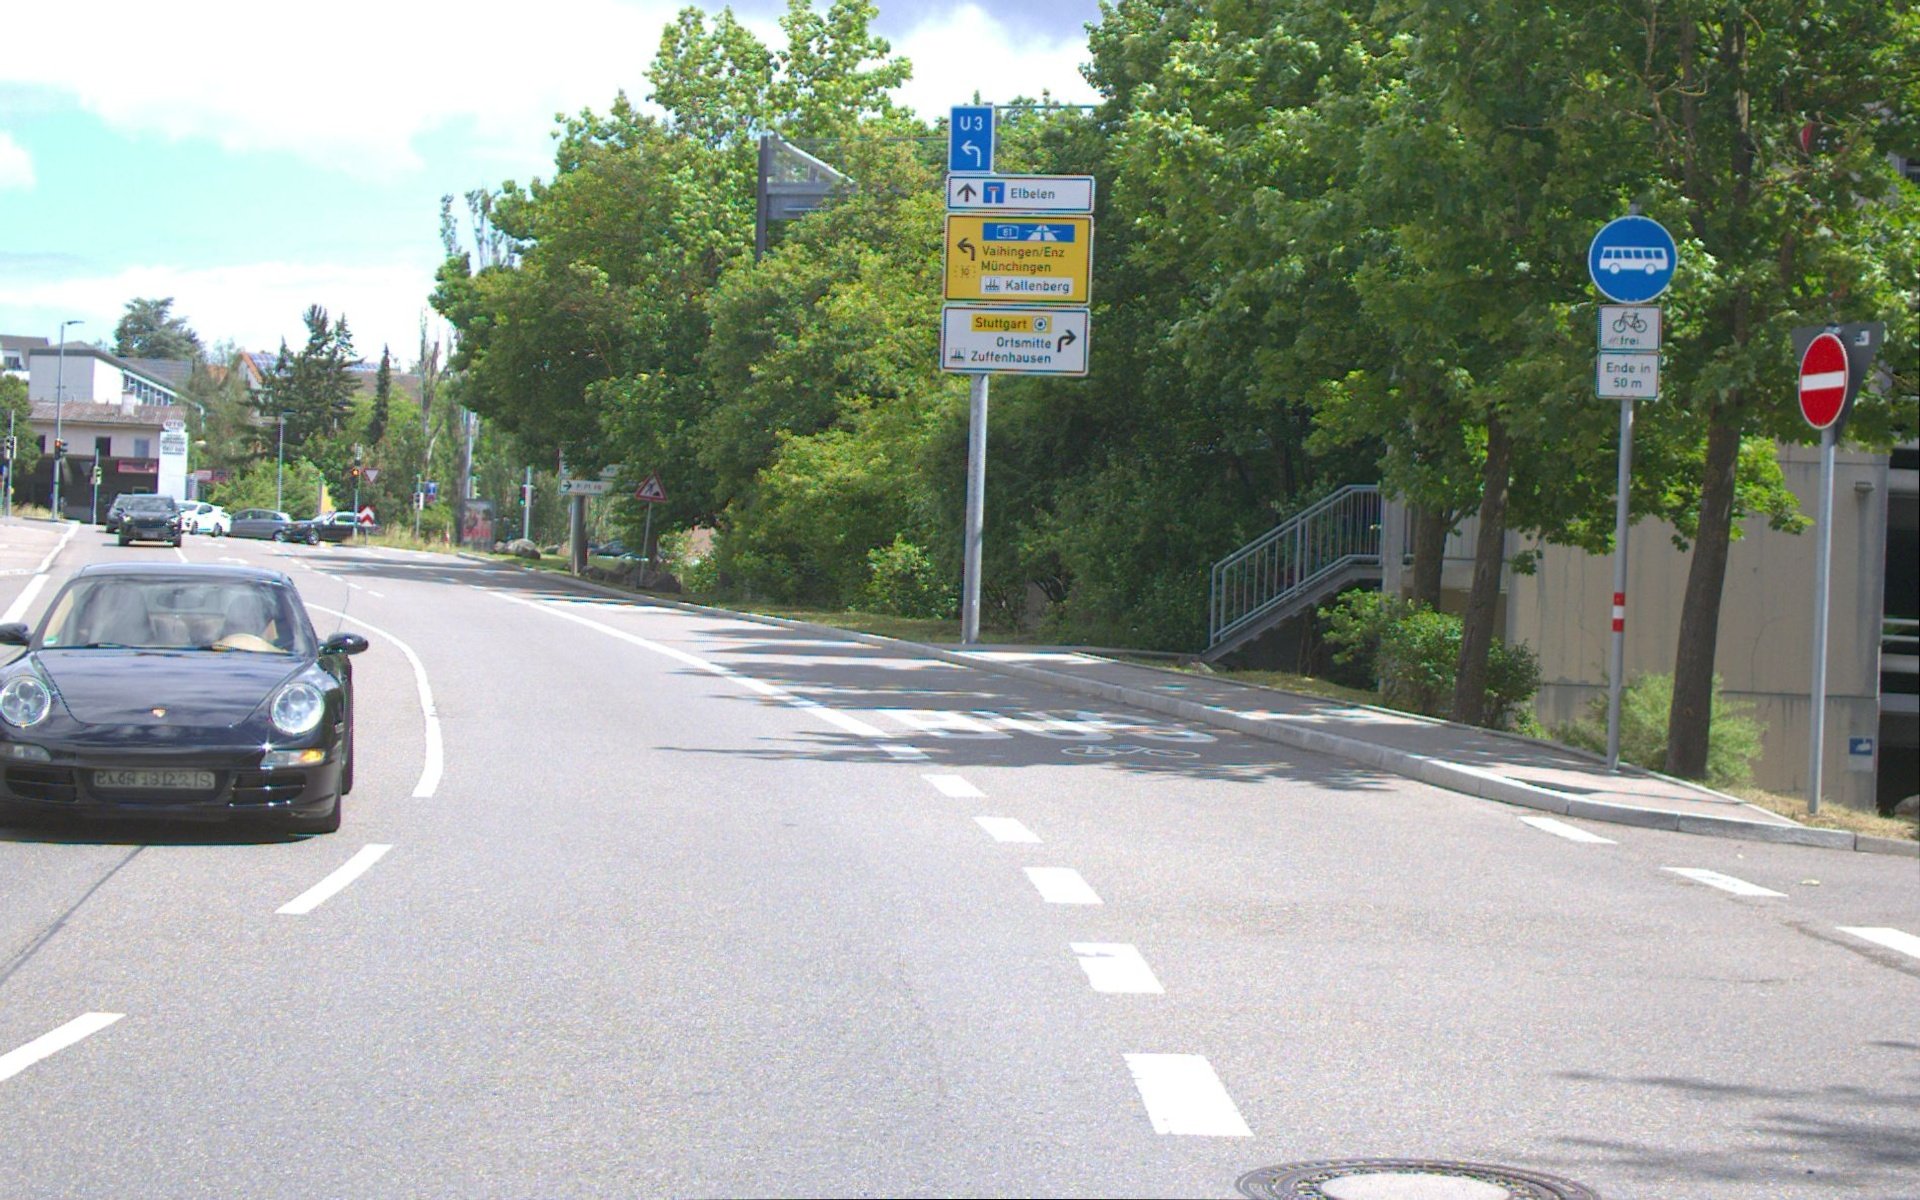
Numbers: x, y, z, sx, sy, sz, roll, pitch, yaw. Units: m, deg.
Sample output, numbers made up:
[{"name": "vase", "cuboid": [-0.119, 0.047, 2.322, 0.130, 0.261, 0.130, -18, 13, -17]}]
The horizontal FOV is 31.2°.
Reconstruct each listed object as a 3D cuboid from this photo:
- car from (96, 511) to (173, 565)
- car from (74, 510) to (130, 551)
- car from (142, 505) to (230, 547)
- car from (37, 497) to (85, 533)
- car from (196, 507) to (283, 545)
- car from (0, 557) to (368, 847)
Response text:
[{"name": "car", "cuboid": [-25.266, -1.919, 105.177, 1.822, 1.552, 4.631, 0, 2, -19]}, {"name": "car", "cuboid": [-31.587, -2.565, 126.475, 1.765, 1.437, 4.379, 1, 1, -16]}, {"name": "car", "cuboid": [-36.838, -3.515, 163.713, 3.986, 1.897, 2.001, 1, 1, -11]}, {"name": "car", "cuboid": [-38.059, -3.581, 145.490, 1.765, 1.437, 3.901, 1, 1, -17]}, {"name": "car", "cuboid": [-35.119, -3.602, 167.644, 3.986, 1.706, 1.895, 1, 1, -7]}, {"name": "car", "cuboid": [-3.994, 0.451, 17.778, 1.734, 1.296, 4.005, 1, 1, -9]}]
